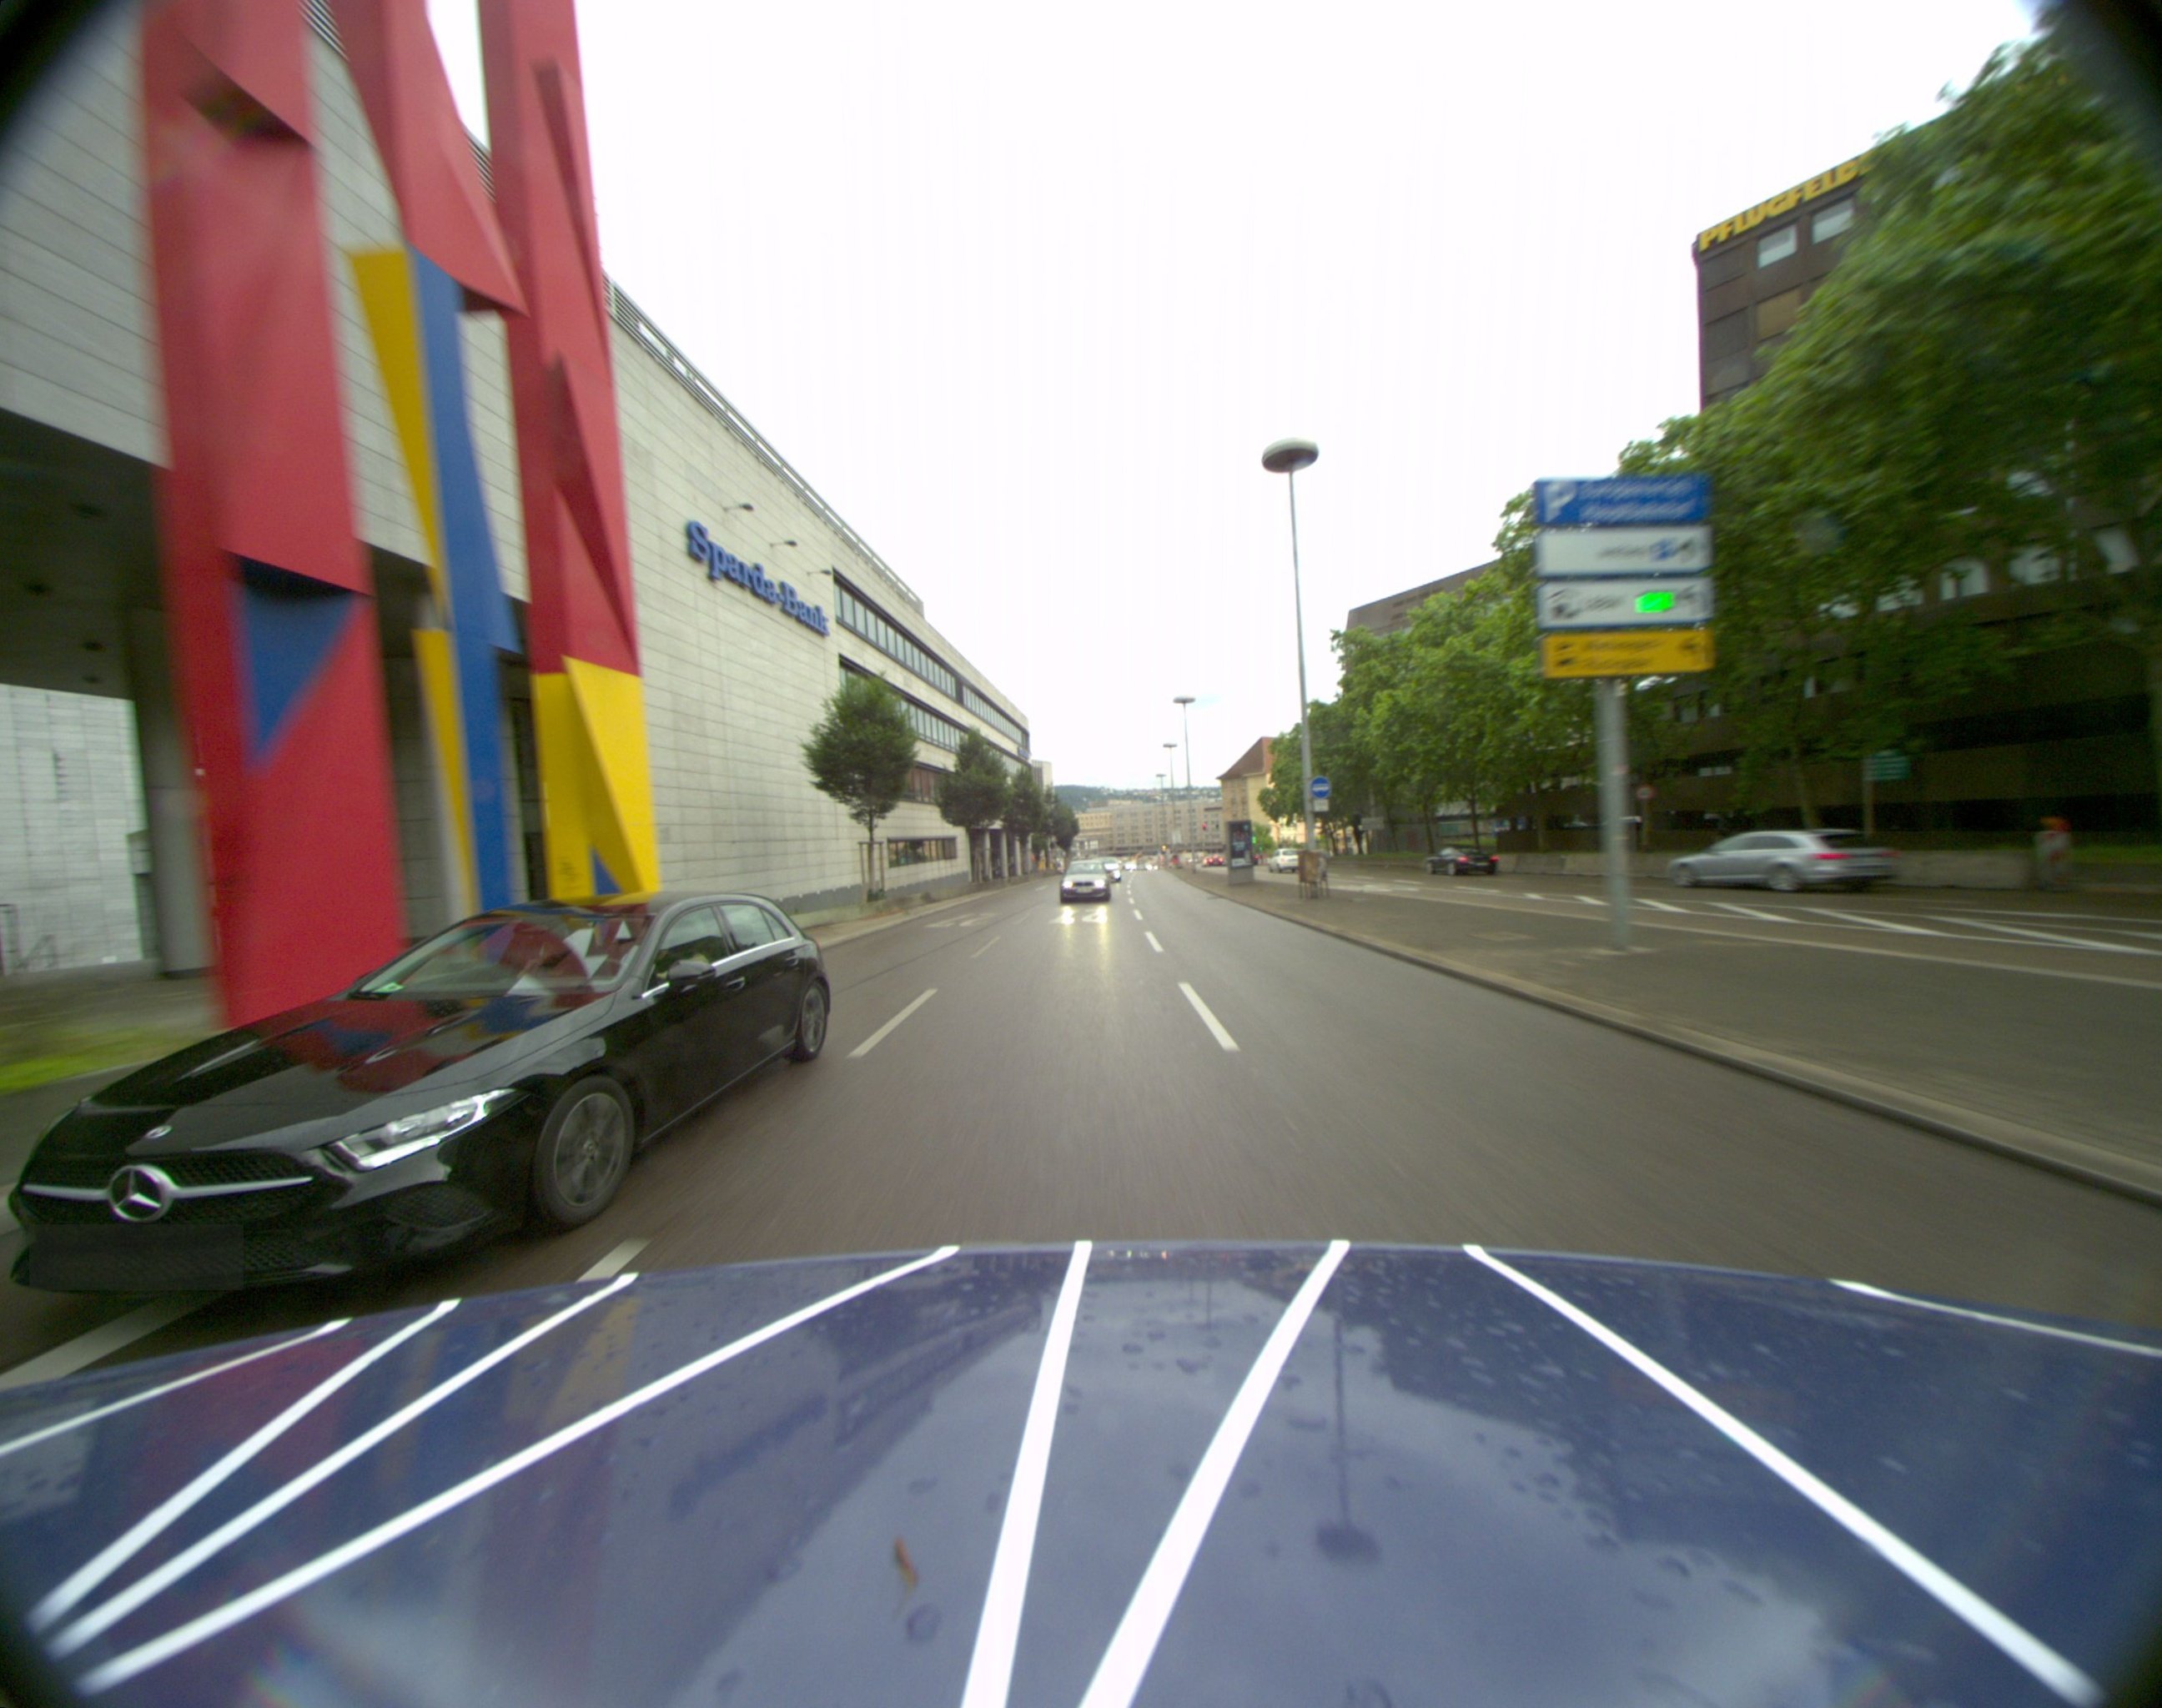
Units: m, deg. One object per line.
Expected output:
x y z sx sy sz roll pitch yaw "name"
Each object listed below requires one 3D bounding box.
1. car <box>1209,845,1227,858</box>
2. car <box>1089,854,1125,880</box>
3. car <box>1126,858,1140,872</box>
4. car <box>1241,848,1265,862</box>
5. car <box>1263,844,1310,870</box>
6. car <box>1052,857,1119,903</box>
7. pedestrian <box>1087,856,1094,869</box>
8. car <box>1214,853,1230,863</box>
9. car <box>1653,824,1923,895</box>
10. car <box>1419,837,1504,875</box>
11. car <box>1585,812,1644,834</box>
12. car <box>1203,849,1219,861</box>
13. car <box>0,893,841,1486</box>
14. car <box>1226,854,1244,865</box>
17.661 -0.321 98.153 1.798 1.477 3.865 -4 0 5 "car"
1.603 0.720 45.397 1.862 1.449 4.207 -1 0 5 "car"
8.458 1.778 123.852 1.997 2.002 4.002 -2 0 7 "car"
19.241 0.113 84.961 1.938 1.491 4.174 -2 -1 4 "car"
12.834 0.153 47.708 1.758 1.510 3.739 -2 0 -2 "car"
0.248 0.880 27.355 1.862 1.428 4.207 -2 0 7 "car"
1.508 1.271 117.879 0.765 1.936 0.995 -2 1 23 "pedestrian"
21.398 0.573 115.675 1.938 1.428 4.508 -2 0 5 "car"
16.820 0.099 18.539 1.999 1.439 4.880 -2 0 -1 "car"
16.753 0.076 33.705 1.758 1.510 4.170 -2 0 2 "car"
47.171 -2.712 67.274 3.990 1.707 2.004 -3 0 29 "car"
17.944 0.118 104.936 1.798 1.477 3.864 -2 1 5 "car"
-3.115 1.082 4.266 1.877 1.428 4.206 -3 0 4 "car"
20.459 0.730 101.224 1.937 1.428 4.078 -2 0 7 "car"
